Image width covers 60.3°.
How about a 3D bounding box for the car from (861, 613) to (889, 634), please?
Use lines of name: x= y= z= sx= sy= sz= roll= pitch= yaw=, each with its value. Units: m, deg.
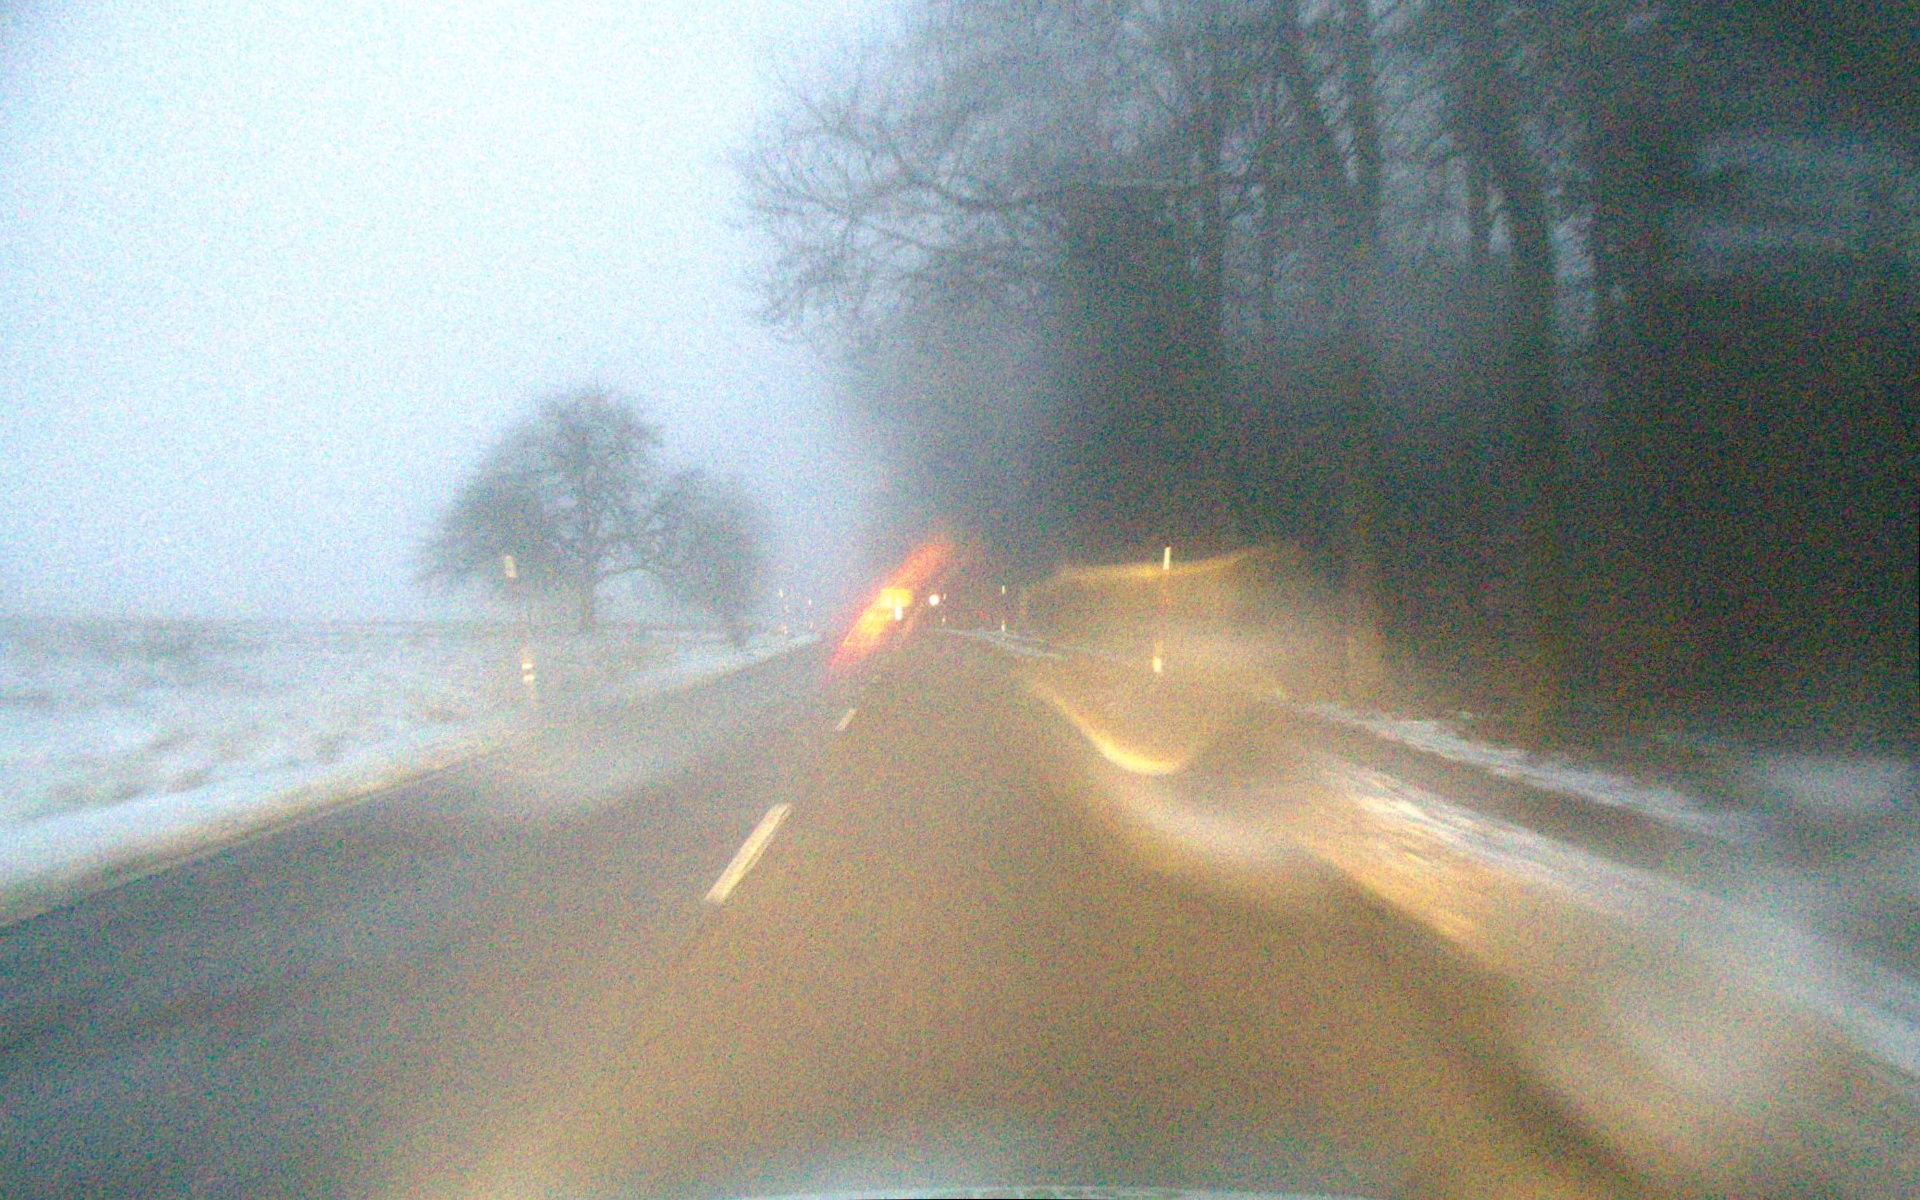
car: x=-6.177 y=1.693 z=120.781 sx=1.954 sy=1.445 sz=3.998 roll=-2 pitch=0 yaw=-2
